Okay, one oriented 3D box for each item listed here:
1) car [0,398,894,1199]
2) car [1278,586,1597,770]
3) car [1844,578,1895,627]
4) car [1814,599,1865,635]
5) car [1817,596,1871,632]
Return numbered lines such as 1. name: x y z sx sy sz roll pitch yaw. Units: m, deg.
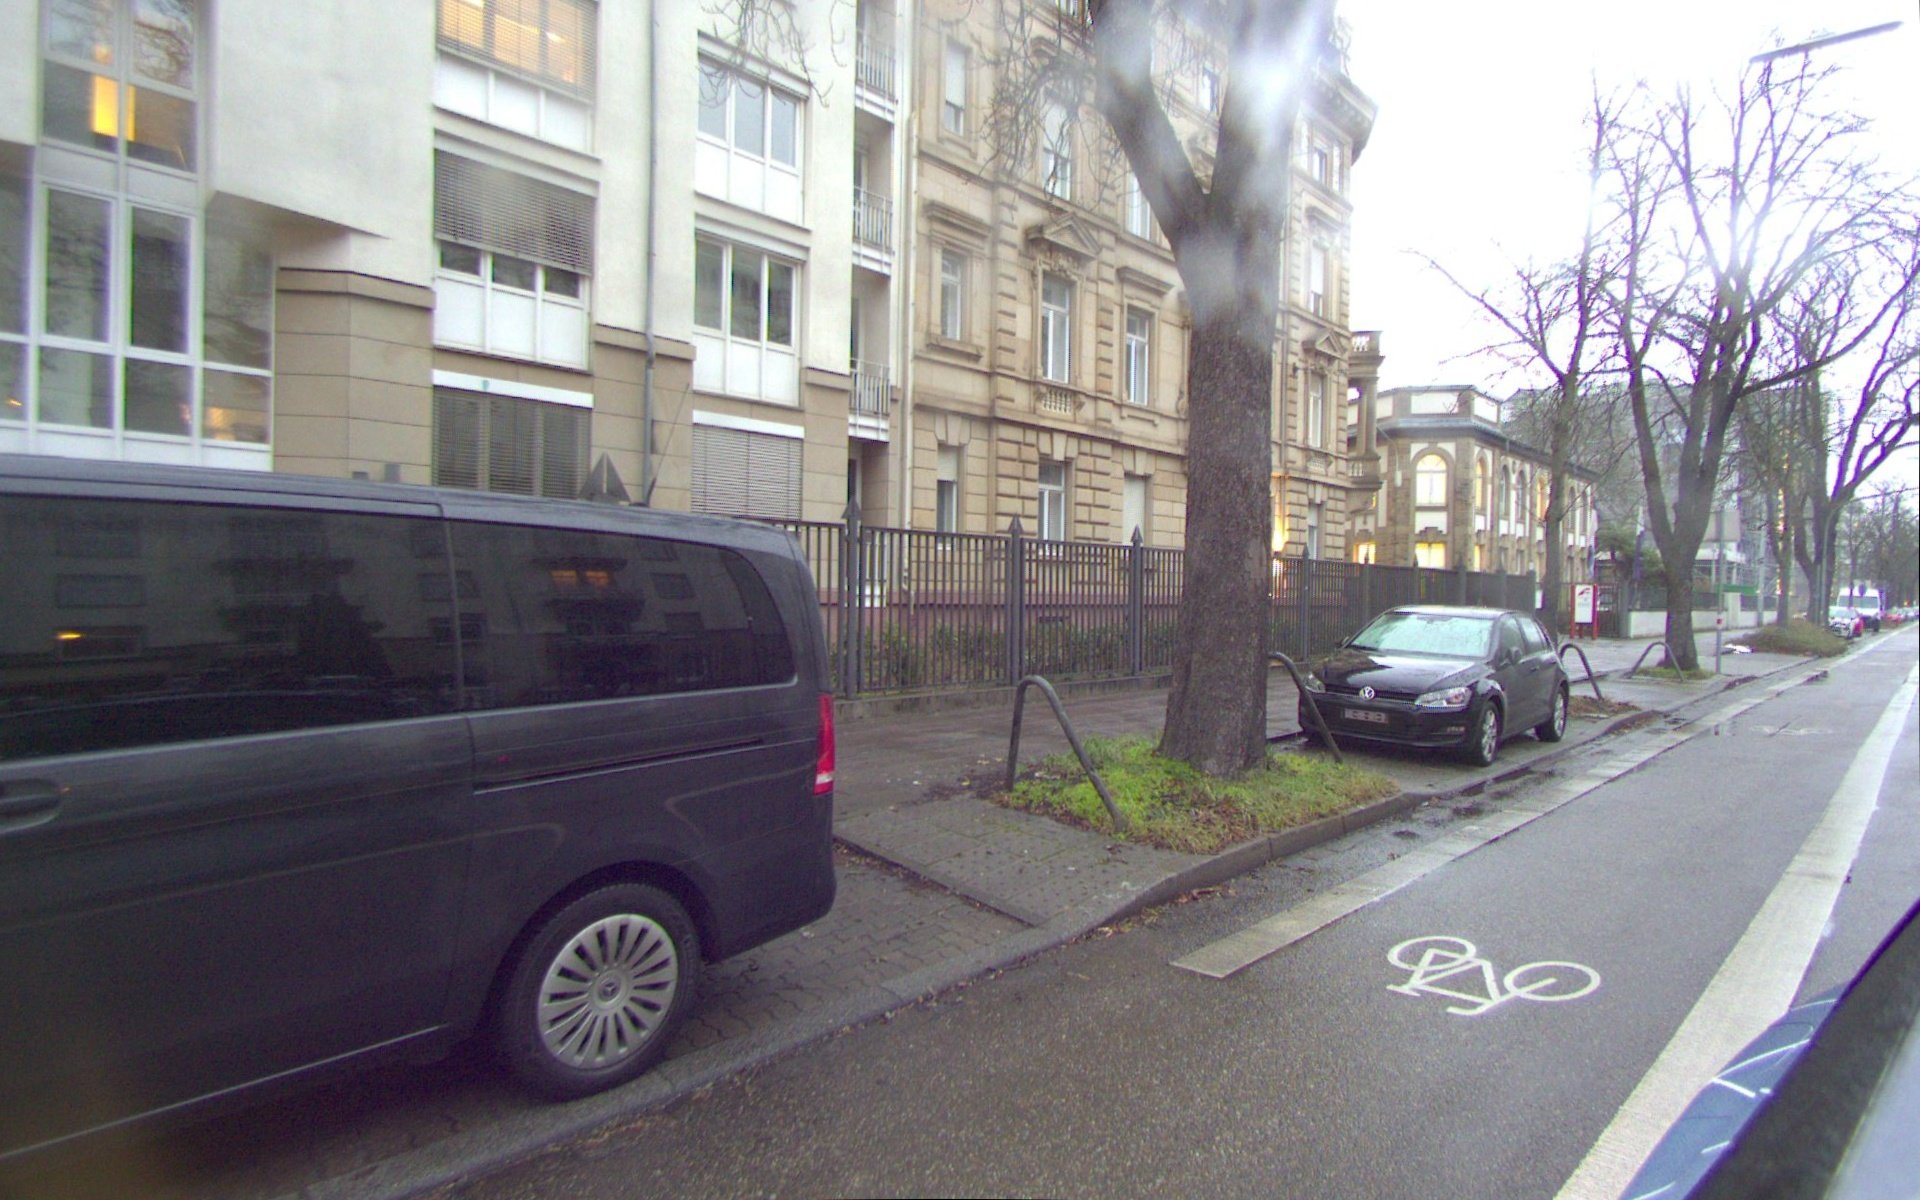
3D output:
1. car: -2.701 0.503 2.787 4.882 1.899 2.032 0 2 -45
2. car: 5.133 0.663 10.599 1.758 1.463 4.091 4 2 44
3. car: 52.158 0.103 58.053 2.086 2.670 5.367 0 1 42
4. car: 38.293 0.694 44.020 1.623 1.425 3.939 0 1 42
5. car: 44.939 0.667 51.411 1.992 1.703 3.939 0 1 42
